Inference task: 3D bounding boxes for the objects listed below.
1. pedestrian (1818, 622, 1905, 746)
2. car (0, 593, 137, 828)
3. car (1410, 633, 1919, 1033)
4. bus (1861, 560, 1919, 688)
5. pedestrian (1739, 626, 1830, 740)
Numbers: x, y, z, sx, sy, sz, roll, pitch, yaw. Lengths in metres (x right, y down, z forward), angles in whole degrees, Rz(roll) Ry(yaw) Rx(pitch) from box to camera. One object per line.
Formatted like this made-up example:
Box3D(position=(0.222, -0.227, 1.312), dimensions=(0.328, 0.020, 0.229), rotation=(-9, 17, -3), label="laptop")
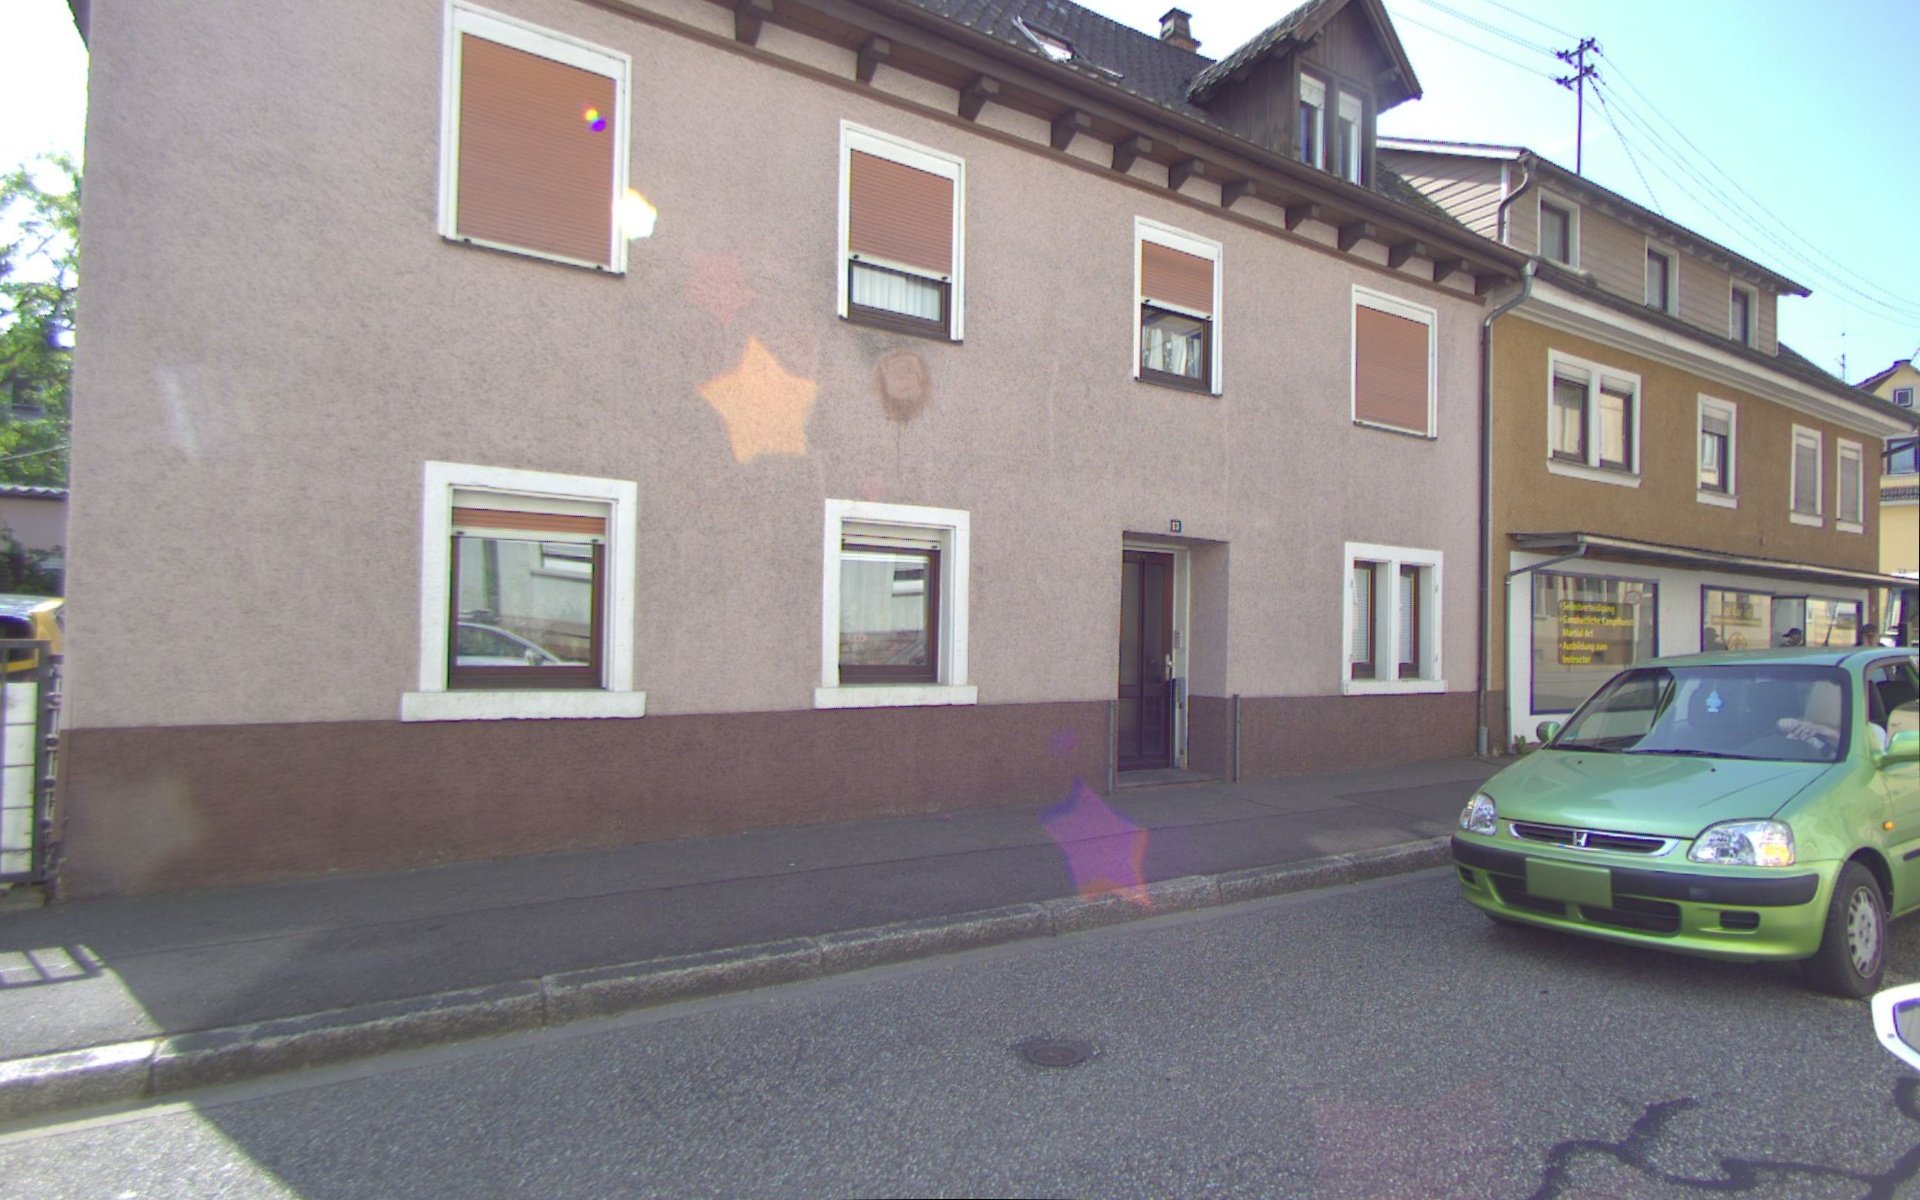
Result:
Box3D(position=(12.618, 1.154, 14.063), dimensions=(0.768, 1.648, 0.636), rotation=(1, 2, -30), label="pedestrian")
Box3D(position=(-7.443, 0.671, 7.455), dimensions=(1.628, 1.411, 3.728), rotation=(2, 0, -33), label="car")
Box3D(position=(4.278, 0.964, 5.399), dimensions=(3.618, 1.483, 1.589), rotation=(2, -4, -31), label="car")
Box3D(position=(28.423, 0.727, 28.006), dimensions=(8.942, 3.271, 2.803), rotation=(2, 0, -34), label="bus")
Box3D(position=(12.205, 1.200, 14.874), dimensions=(0.815, 1.585, 0.731), rotation=(1, 2, -30), label="pedestrian")
